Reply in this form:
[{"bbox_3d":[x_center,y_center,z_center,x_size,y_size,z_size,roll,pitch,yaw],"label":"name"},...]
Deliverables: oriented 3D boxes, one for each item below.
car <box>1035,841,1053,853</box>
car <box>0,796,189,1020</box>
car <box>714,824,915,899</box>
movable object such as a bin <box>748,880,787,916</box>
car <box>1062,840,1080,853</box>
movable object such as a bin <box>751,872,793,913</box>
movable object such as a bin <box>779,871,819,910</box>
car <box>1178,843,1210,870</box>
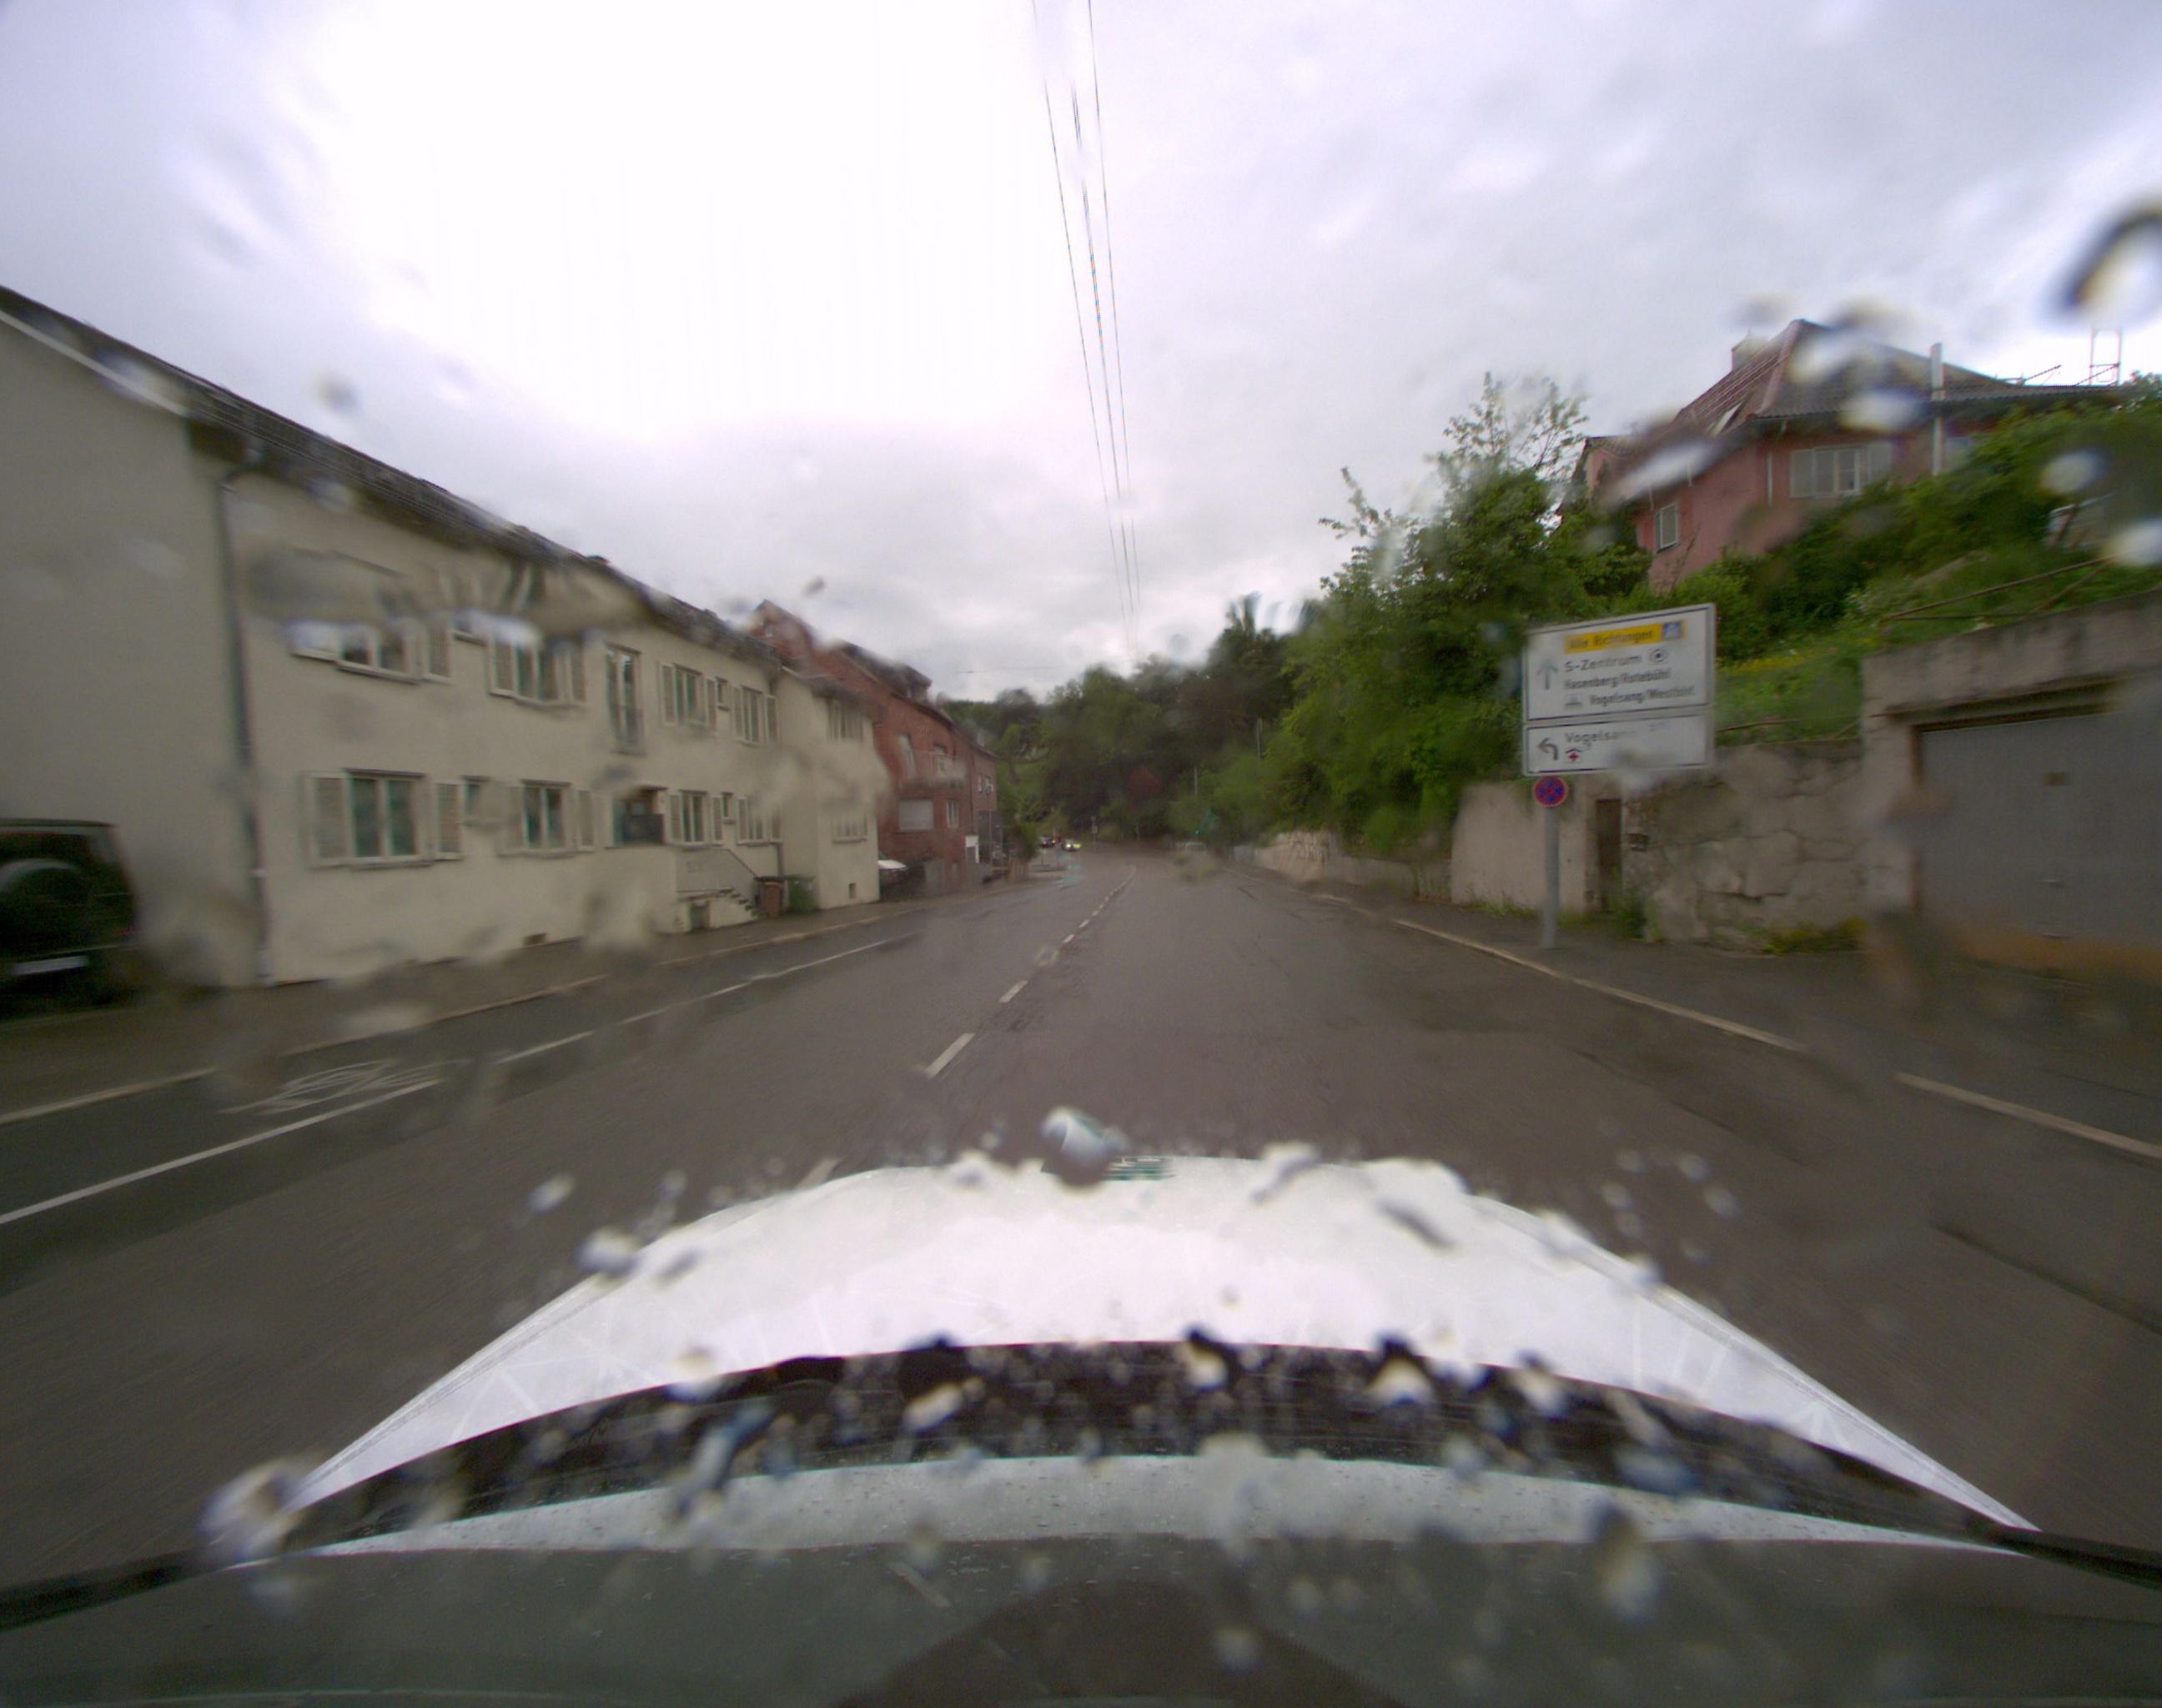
[{"bbox_3d":[-5.278,-1.056,115.494,1.742,1.550,3.984,-5,2,-12],"label":"car"},{"bbox_3d":[-11.931,0.527,7.901,4.471,2.013,1.889,-1,1,2],"label":"car"},{"bbox_3d":[-9.661,0.314,29.753,6.621,2.554,2.171,-1,-2,5],"label":"car"},{"bbox_3d":[-7.918,1.108,20.597,0.670,0.859,0.709,-1,-1,5],"label":"movable object such as a bin"},{"bbox_3d":[-1.295,-1.010,106.694,1.741,1.550,3.989,-5,2,-9],"label":"car"},{"bbox_3d":[-8.173,1.008,21.560,0.778,1.047,0.709,-1,-1,5],"label":"movable object such as a bin"},{"bbox_3d":[-7.733,0.992,22.340,0.778,1.047,0.739,-1,-1,5],"label":"movable object such as a bin"},{"bbox_3d":[9.240,0.167,67.083,2.297,1.939,4.332,-3,1,5],"label":"car"}]
